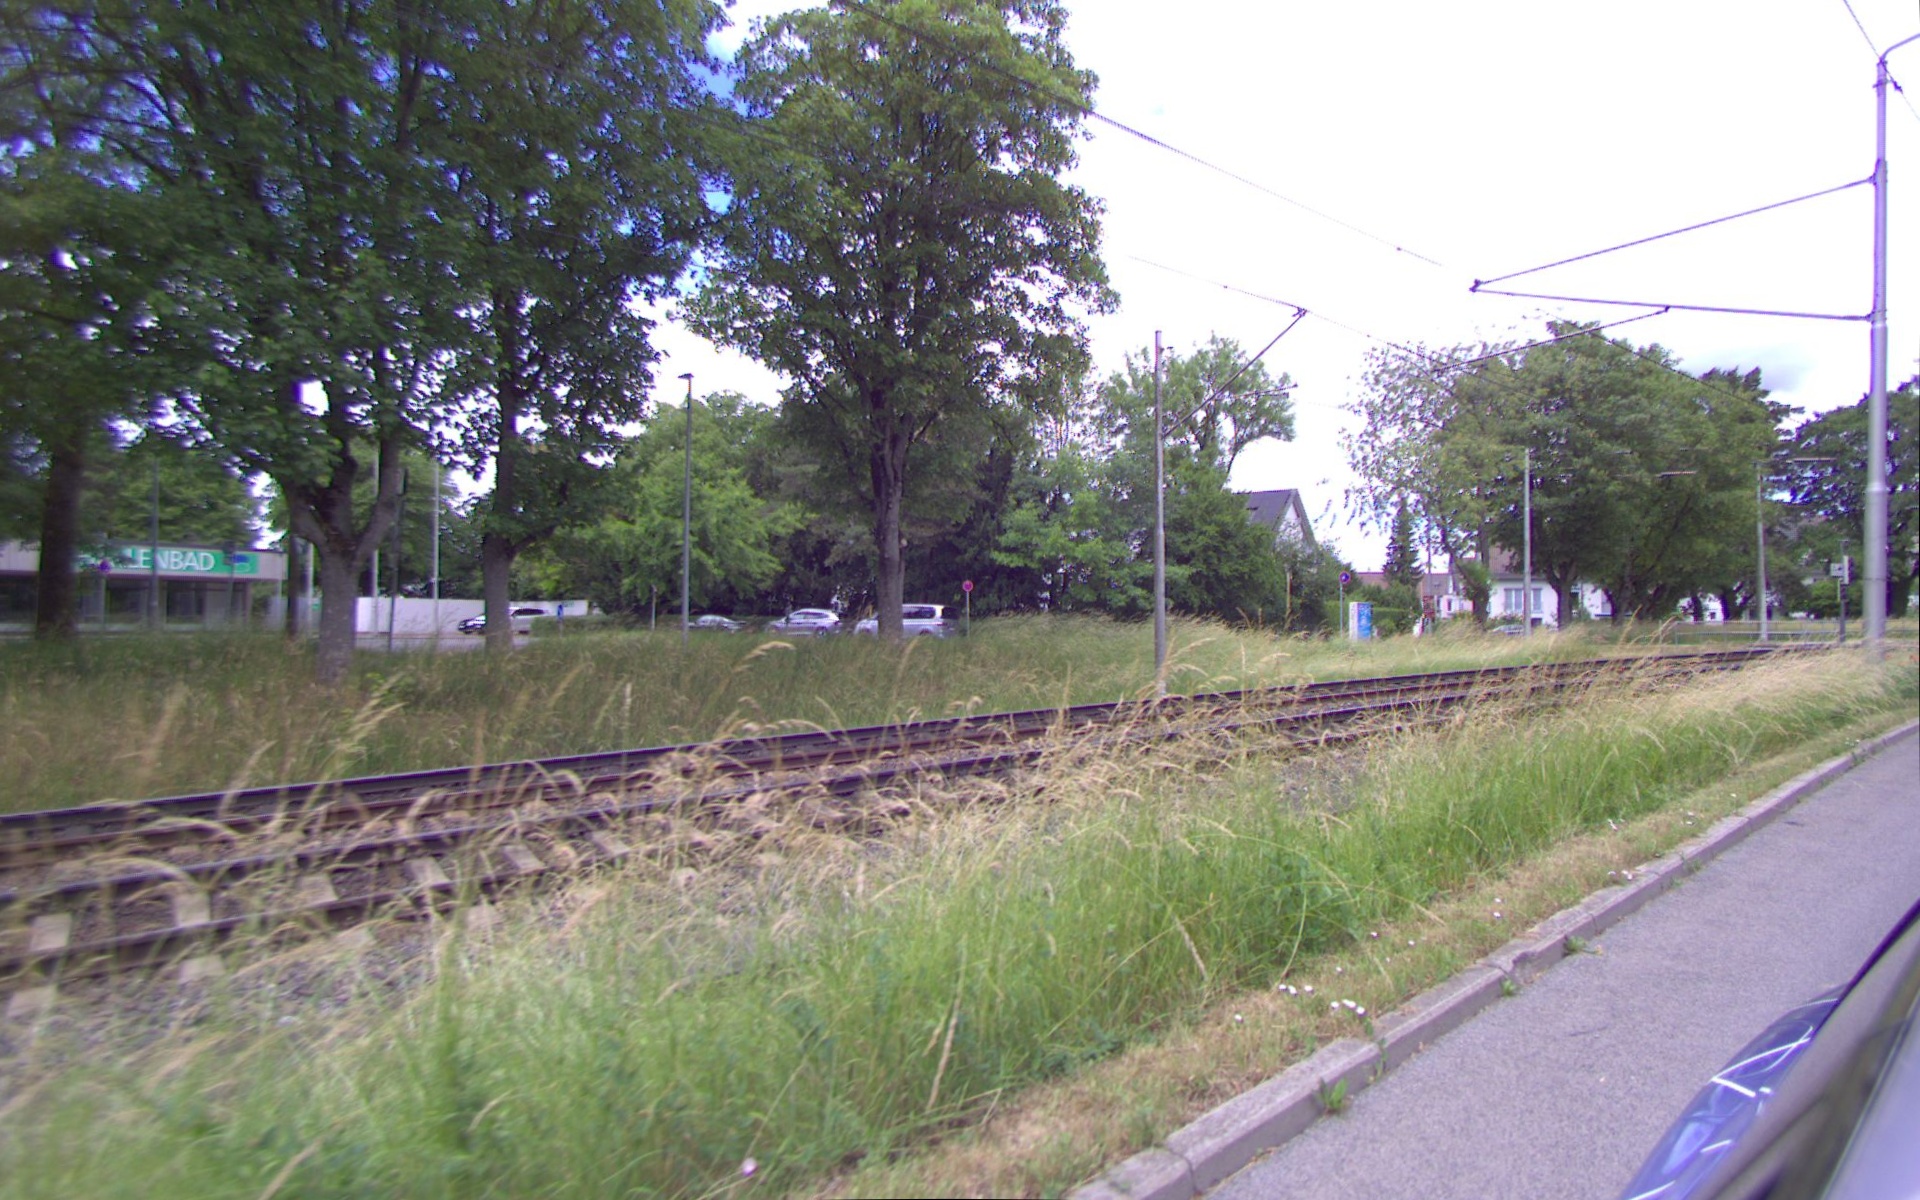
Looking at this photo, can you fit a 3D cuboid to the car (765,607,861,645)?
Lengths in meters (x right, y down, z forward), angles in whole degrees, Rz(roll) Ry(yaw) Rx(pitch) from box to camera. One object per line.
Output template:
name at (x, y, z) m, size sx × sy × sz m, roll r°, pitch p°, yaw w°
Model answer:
car at (-6.794, 1.172, 46.796) m, size 4.154 × 1.700 × 1.755 m, roll -1°, pitch -1°, yaw 27°

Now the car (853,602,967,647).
car at (-2.189, 1.055, 44.219) m, size 4.666 × 1.885 × 1.900 m, roll -1°, pitch -1°, yaw 27°

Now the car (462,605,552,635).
car at (-26.092, 1.129, 58.408) m, size 1.964 × 1.601 × 4.412 m, roll -1°, pitch 0°, yaw 33°

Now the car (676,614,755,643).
car at (-11.874, 1.362, 49.090) m, size 3.490 × 1.351 × 1.658 m, roll -1°, pitch -1°, yaw 27°
